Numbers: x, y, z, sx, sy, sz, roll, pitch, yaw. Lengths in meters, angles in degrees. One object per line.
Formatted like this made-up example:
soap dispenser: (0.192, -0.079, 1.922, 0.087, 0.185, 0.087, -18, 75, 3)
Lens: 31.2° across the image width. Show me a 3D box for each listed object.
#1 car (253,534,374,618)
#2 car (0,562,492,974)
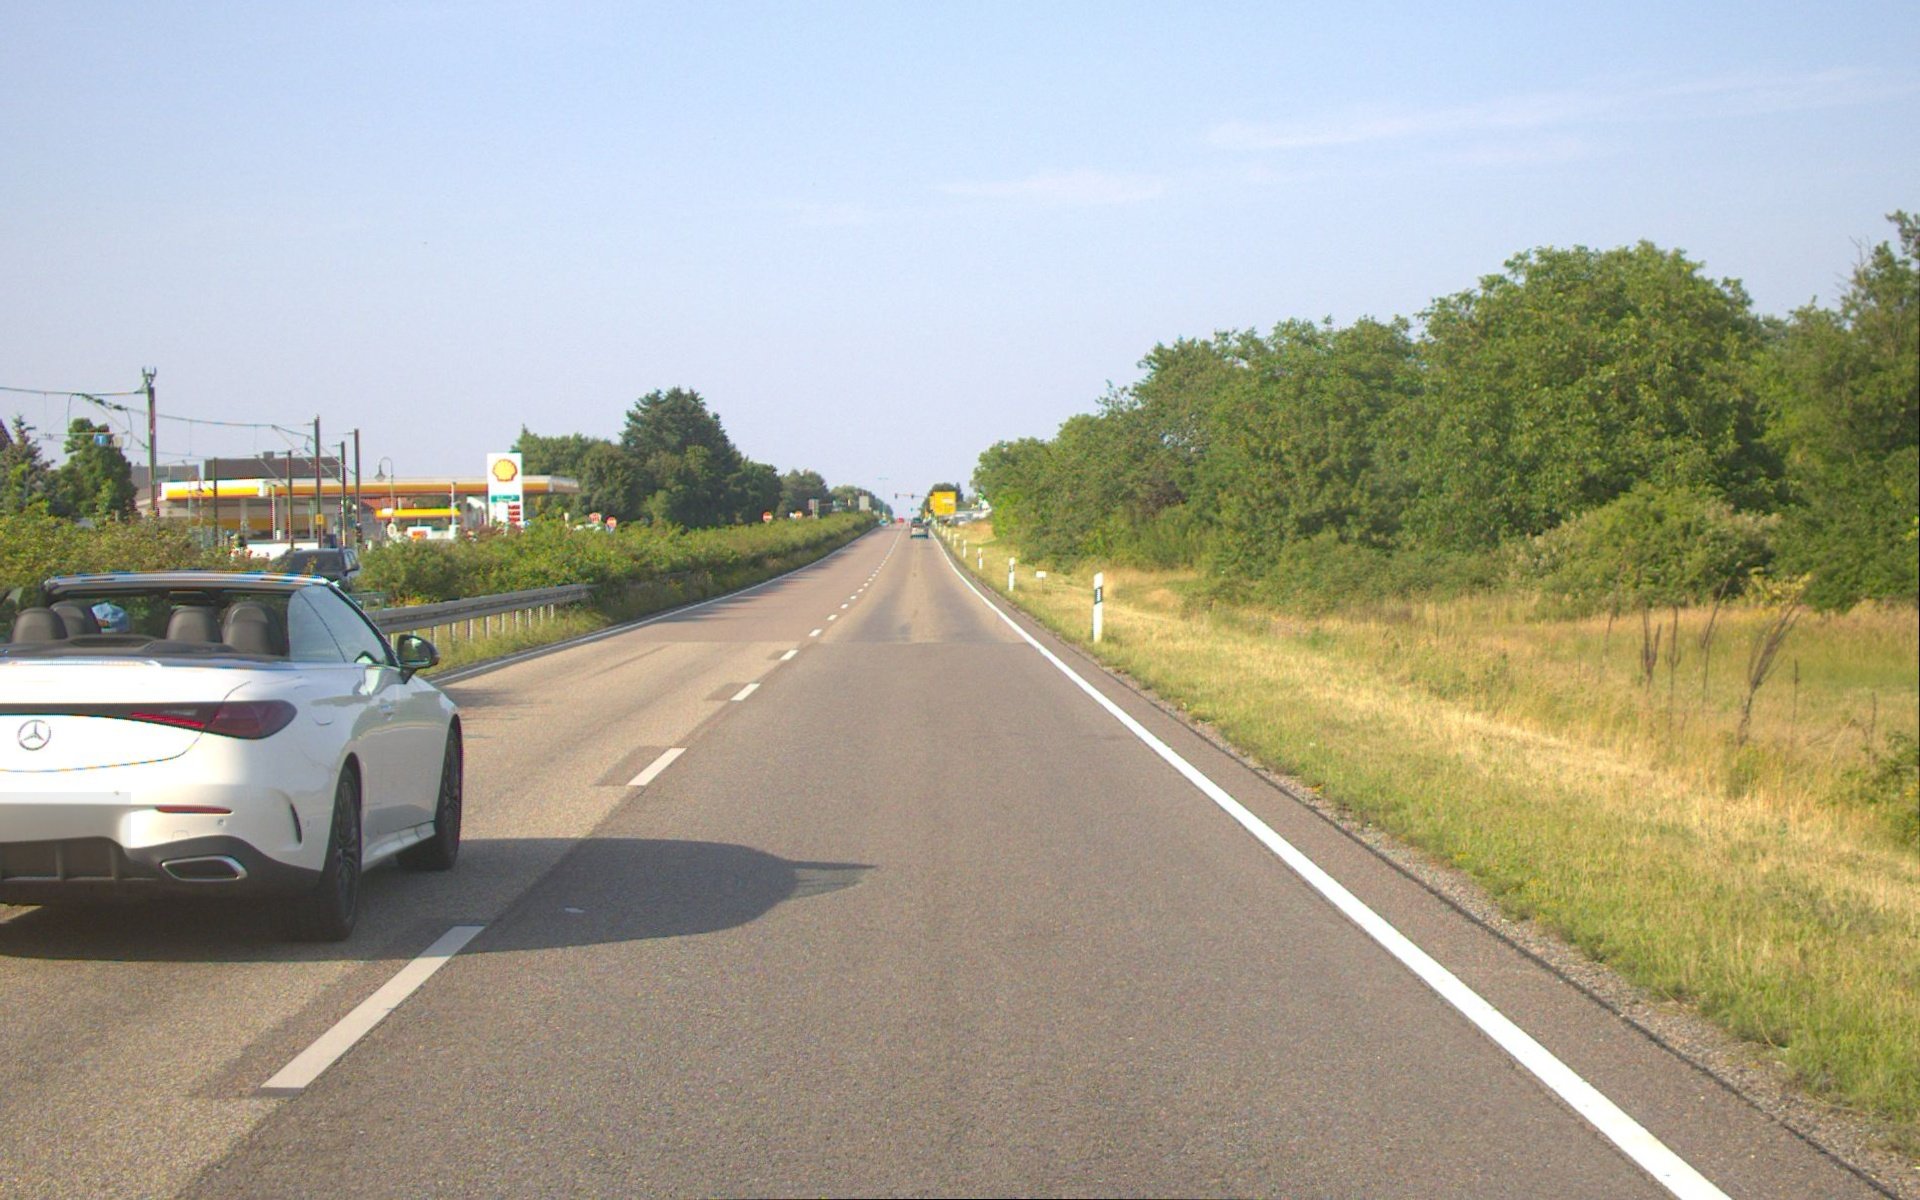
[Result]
car: (-13.763, -0.532, 73.401, 1.729, 1.628, 4.320, -4, 1, -1)
car: (-3.133, 0.542, 14.109, 1.771, 1.333, 4.950, 1, 1, 0)
